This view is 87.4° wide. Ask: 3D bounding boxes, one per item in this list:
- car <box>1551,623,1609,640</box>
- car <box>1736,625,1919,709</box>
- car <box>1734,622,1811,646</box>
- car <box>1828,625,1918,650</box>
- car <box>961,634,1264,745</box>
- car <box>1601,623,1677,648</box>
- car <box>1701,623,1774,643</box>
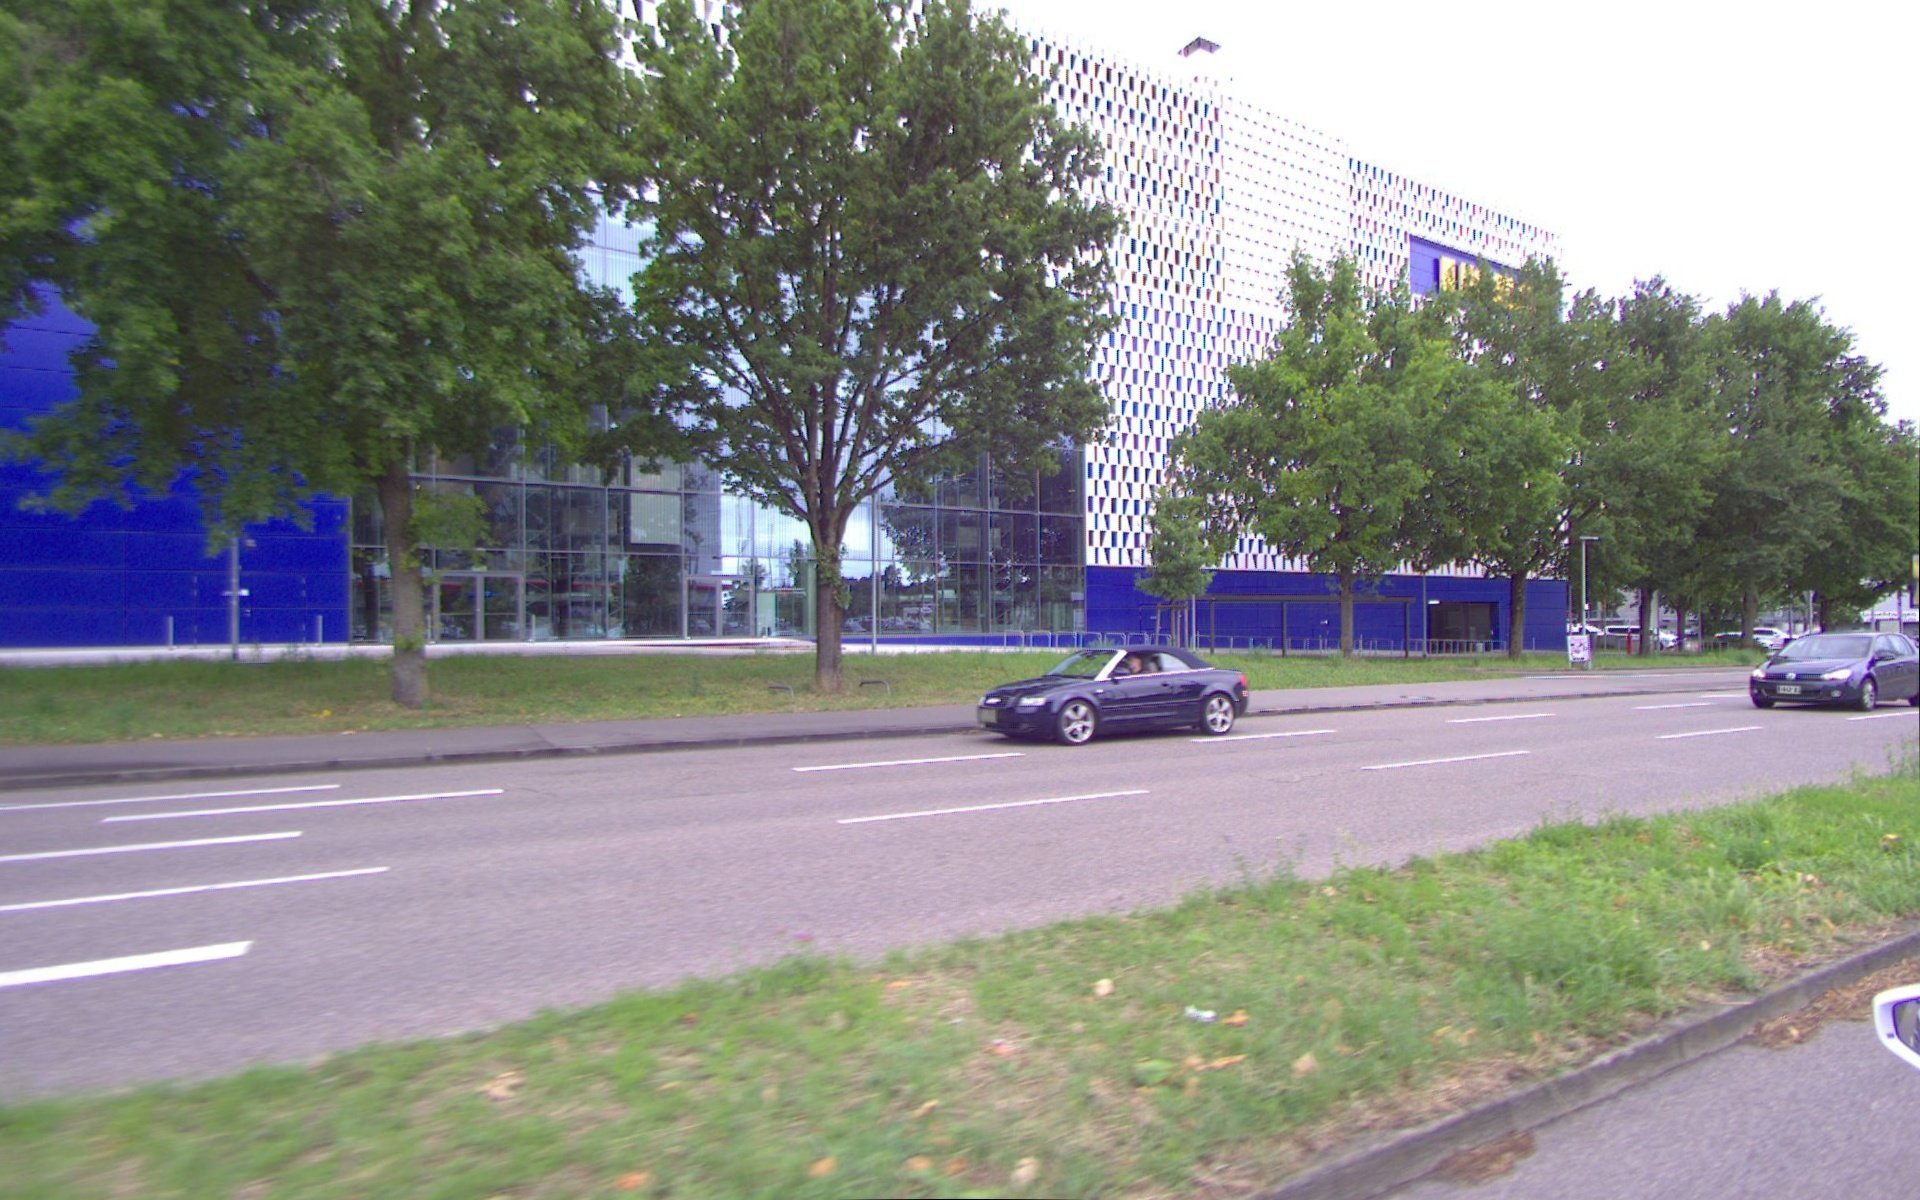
[{"bbox_3d":[57.898,2.882,93.923,1.972,1.524,4.205,0,-1,-32],"label":"car"},{"bbox_3d":[17.111,1.248,19.495,4.132,1.474,1.772,1,-3,-30],"label":"car"},{"bbox_3d":[65.609,2.745,81.178,1.979,1.734,4.407,-3,1,-33],"label":"car"},{"bbox_3d":[66.509,2.735,73.207,1.980,1.681,4.515,0,-2,-35],"label":"car"},{"bbox_3d":[2.328,1.276,15.138,4.350,1.471,1.765,1,-3,-29],"label":"car"},{"bbox_3d":[58.454,3.018,86.597,1.859,1.990,5.104,-3,1,-32],"label":"car"},{"bbox_3d":[62.498,2.655,80.811,1.972,1.532,4.205,0,-1,-32],"label":"car"}]
